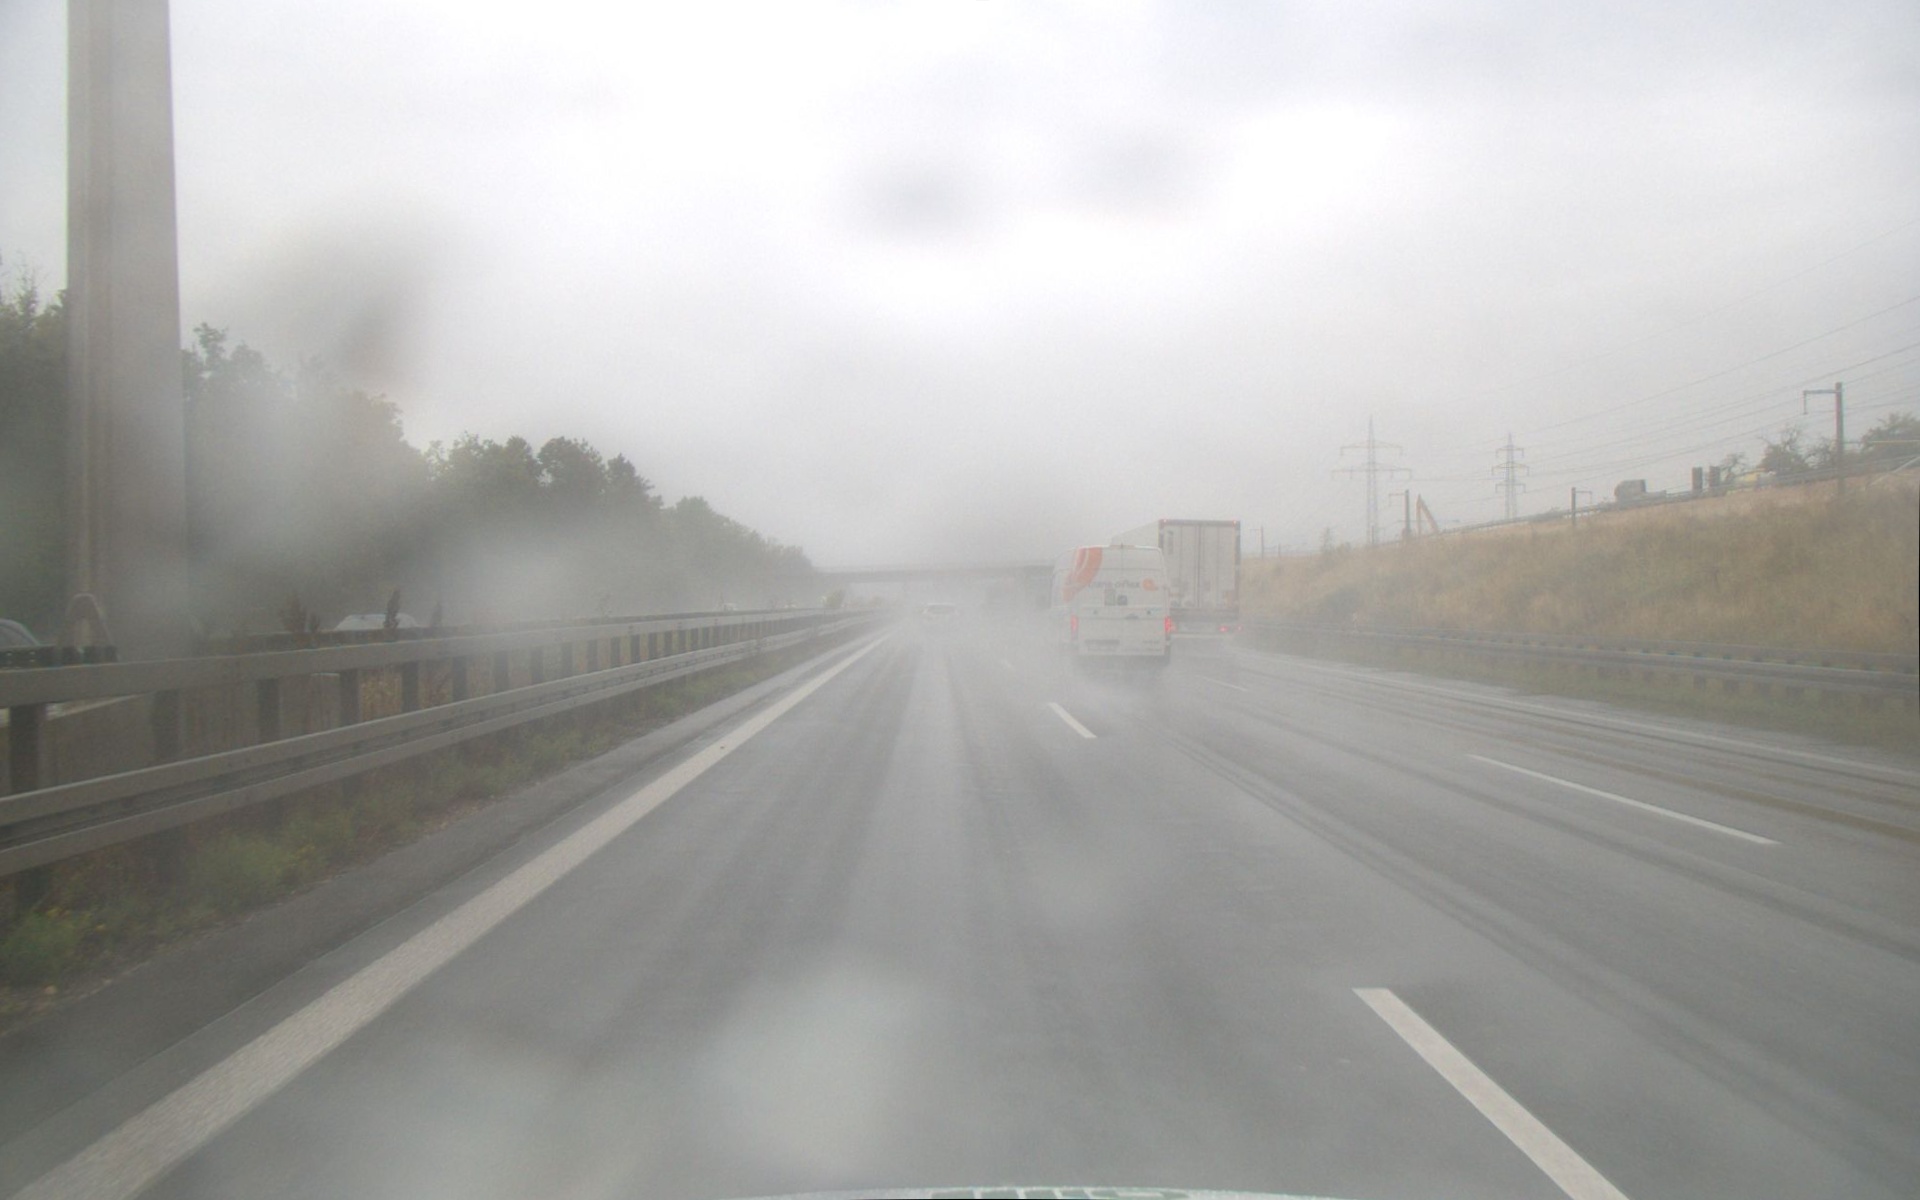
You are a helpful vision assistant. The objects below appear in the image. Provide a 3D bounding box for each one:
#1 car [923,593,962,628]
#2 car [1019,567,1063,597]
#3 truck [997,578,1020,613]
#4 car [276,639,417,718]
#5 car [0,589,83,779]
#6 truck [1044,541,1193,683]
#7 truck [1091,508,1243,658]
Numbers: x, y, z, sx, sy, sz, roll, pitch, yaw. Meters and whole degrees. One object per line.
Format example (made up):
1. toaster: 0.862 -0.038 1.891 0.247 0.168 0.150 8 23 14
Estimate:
1. car: -0.755 0.434 69.599 1.573 1.361 3.848 1 1 -1
2. car: 5.690 -1.284 117.174 2.731 2.049 4.992 1 1 -1
3. truck: 5.160 -0.511 177.697 2.066 3.577 5.245 1 1 -2
4. car: -15.605 1.962 42.351 1.953 1.691 4.781 1 1 -2
5. car: -11.376 0.933 17.373 1.763 2.049 5.026 1 1 -2
6. truck: 3.038 0.172 32.968 2.370 2.536 5.560 1 1 0
7. truck: 7.167 -0.552 60.237 2.978 4.668 16.345 1 0 -2
